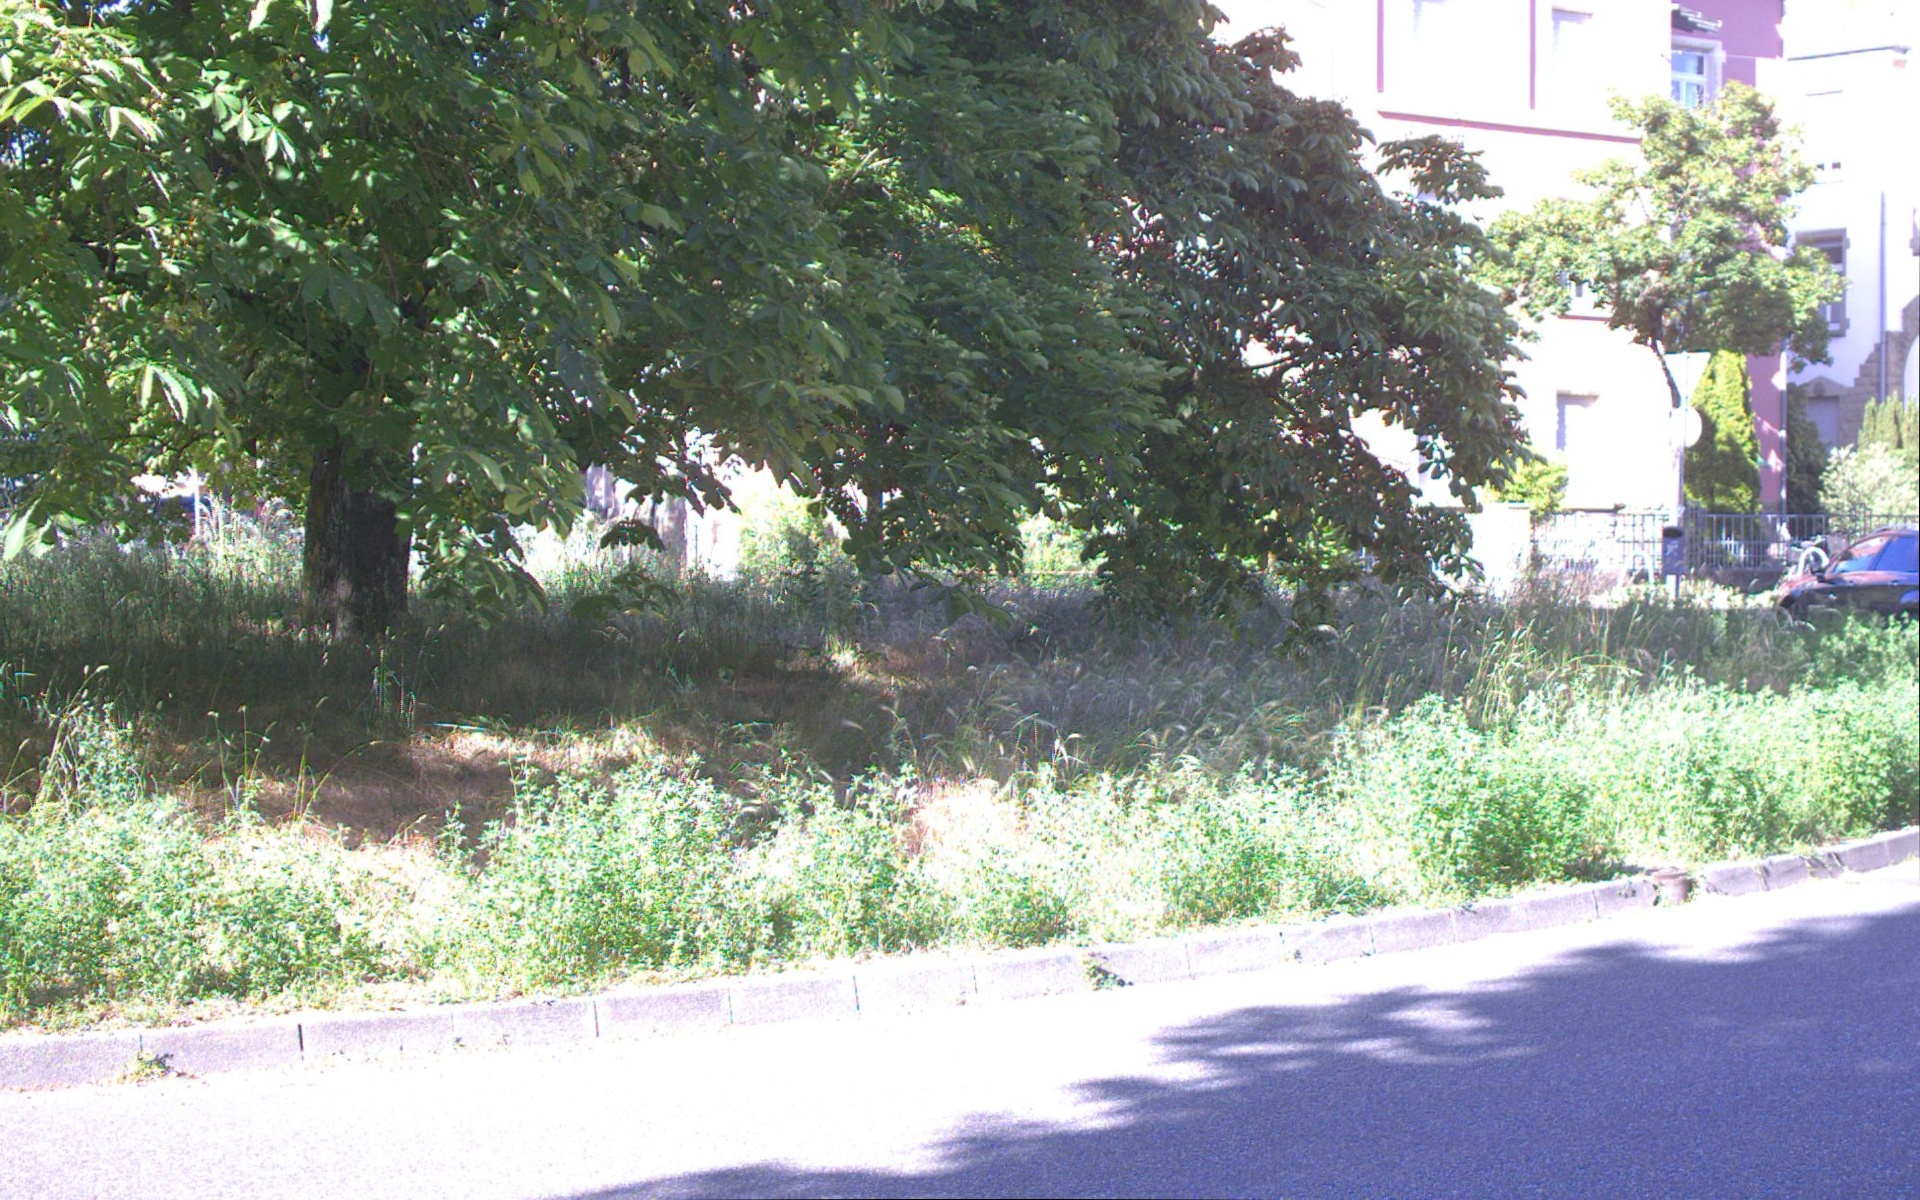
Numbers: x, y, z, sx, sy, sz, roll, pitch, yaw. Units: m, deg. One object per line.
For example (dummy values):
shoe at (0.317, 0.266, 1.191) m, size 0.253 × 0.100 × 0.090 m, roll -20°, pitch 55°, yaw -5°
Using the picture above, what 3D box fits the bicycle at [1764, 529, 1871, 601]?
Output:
bicycle at (14.019, -0.582, 56.245) m, size 0.544 × 1.111 × 1.727 m, roll -1°, pitch 4°, yaw -36°

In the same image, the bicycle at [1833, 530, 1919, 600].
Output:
bicycle at (15.506, -0.584, 57.184) m, size 1.828 × 1.103 × 0.500 m, roll 3°, pitch 4°, yaw 38°

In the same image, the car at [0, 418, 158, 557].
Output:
car at (-18.785, -2.233, 67.252) m, size 6.367 × 2.591 × 2.100 m, roll 2°, pitch 1°, yaw 32°

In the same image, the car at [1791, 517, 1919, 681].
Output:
car at (9.726, -0.038, 33.563) m, size 1.822 × 1.527 × 4.001 m, roll 0°, pitch 1°, yaw -7°

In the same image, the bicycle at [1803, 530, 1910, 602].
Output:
bicycle at (14.801, -0.576, 56.787) m, size 0.544 × 1.111 × 1.727 m, roll -1°, pitch 4°, yaw -36°
